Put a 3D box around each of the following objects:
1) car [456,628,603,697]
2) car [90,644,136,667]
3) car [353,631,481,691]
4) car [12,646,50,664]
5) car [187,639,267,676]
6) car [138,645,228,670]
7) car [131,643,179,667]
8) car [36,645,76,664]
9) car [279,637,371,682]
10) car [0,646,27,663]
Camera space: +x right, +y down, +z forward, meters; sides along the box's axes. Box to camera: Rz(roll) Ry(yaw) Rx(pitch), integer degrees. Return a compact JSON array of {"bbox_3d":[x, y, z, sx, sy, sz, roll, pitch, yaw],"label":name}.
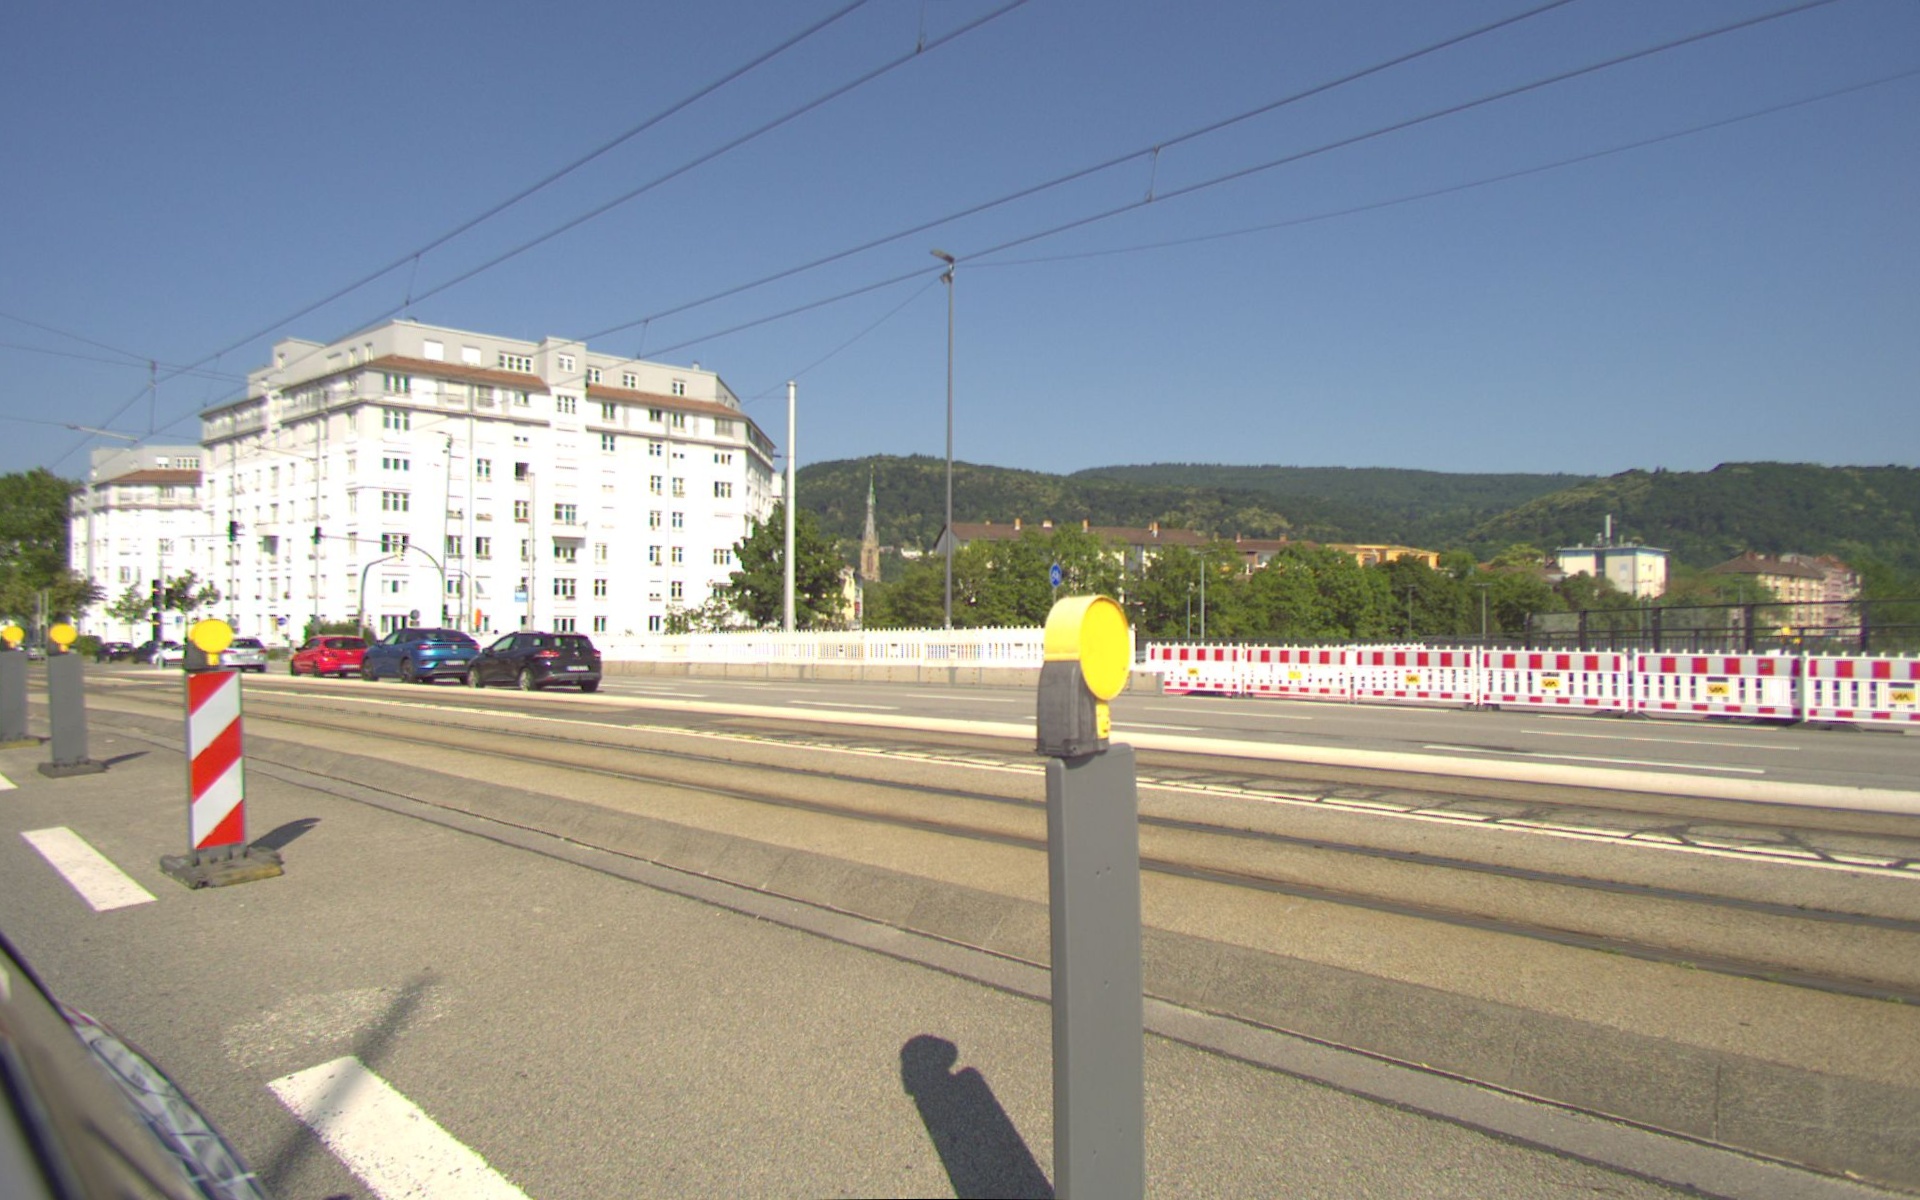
[{"bbox_3d":[-10.271,1.458,24.012,4.174,1.512,1.490,-2,-4,40],"label":"car"},{"bbox_3d":[-63.716,4.143,76.143,3.730,1.650,1.720,-2,-2,34],"label":"car"},{"bbox_3d":[-15.337,1.677,28.488,4.553,1.562,1.652,-2,-3,41],"label":"car"},{"bbox_3d":[-80.770,4.747,88.004,3.732,1.496,1.719,-2,-2,36],"label":"car"},{"bbox_3d":[-30.243,2.356,41.725,4.640,1.448,1.620,-2,-4,41],"label":"car"},{"bbox_3d":[-46.211,3.403,60.237,4.436,1.423,1.697,-1,-2,10],"label":"car"},{"bbox_3d":[-56.692,3.866,71.255,3.732,1.650,1.719,-2,-2,36],"label":"car"},{"bbox_3d":[-74.207,4.473,83.042,3.732,1.496,1.719,-2,-2,36],"label":"car"},{"bbox_3d":[-21.712,2.025,34.567,3.977,1.448,1.518,-2,-5,41],"label":"car"},{"bbox_3d":[-86.657,4.954,92.220,3.732,1.496,1.719,-2,-2,36],"label":"car"}]
